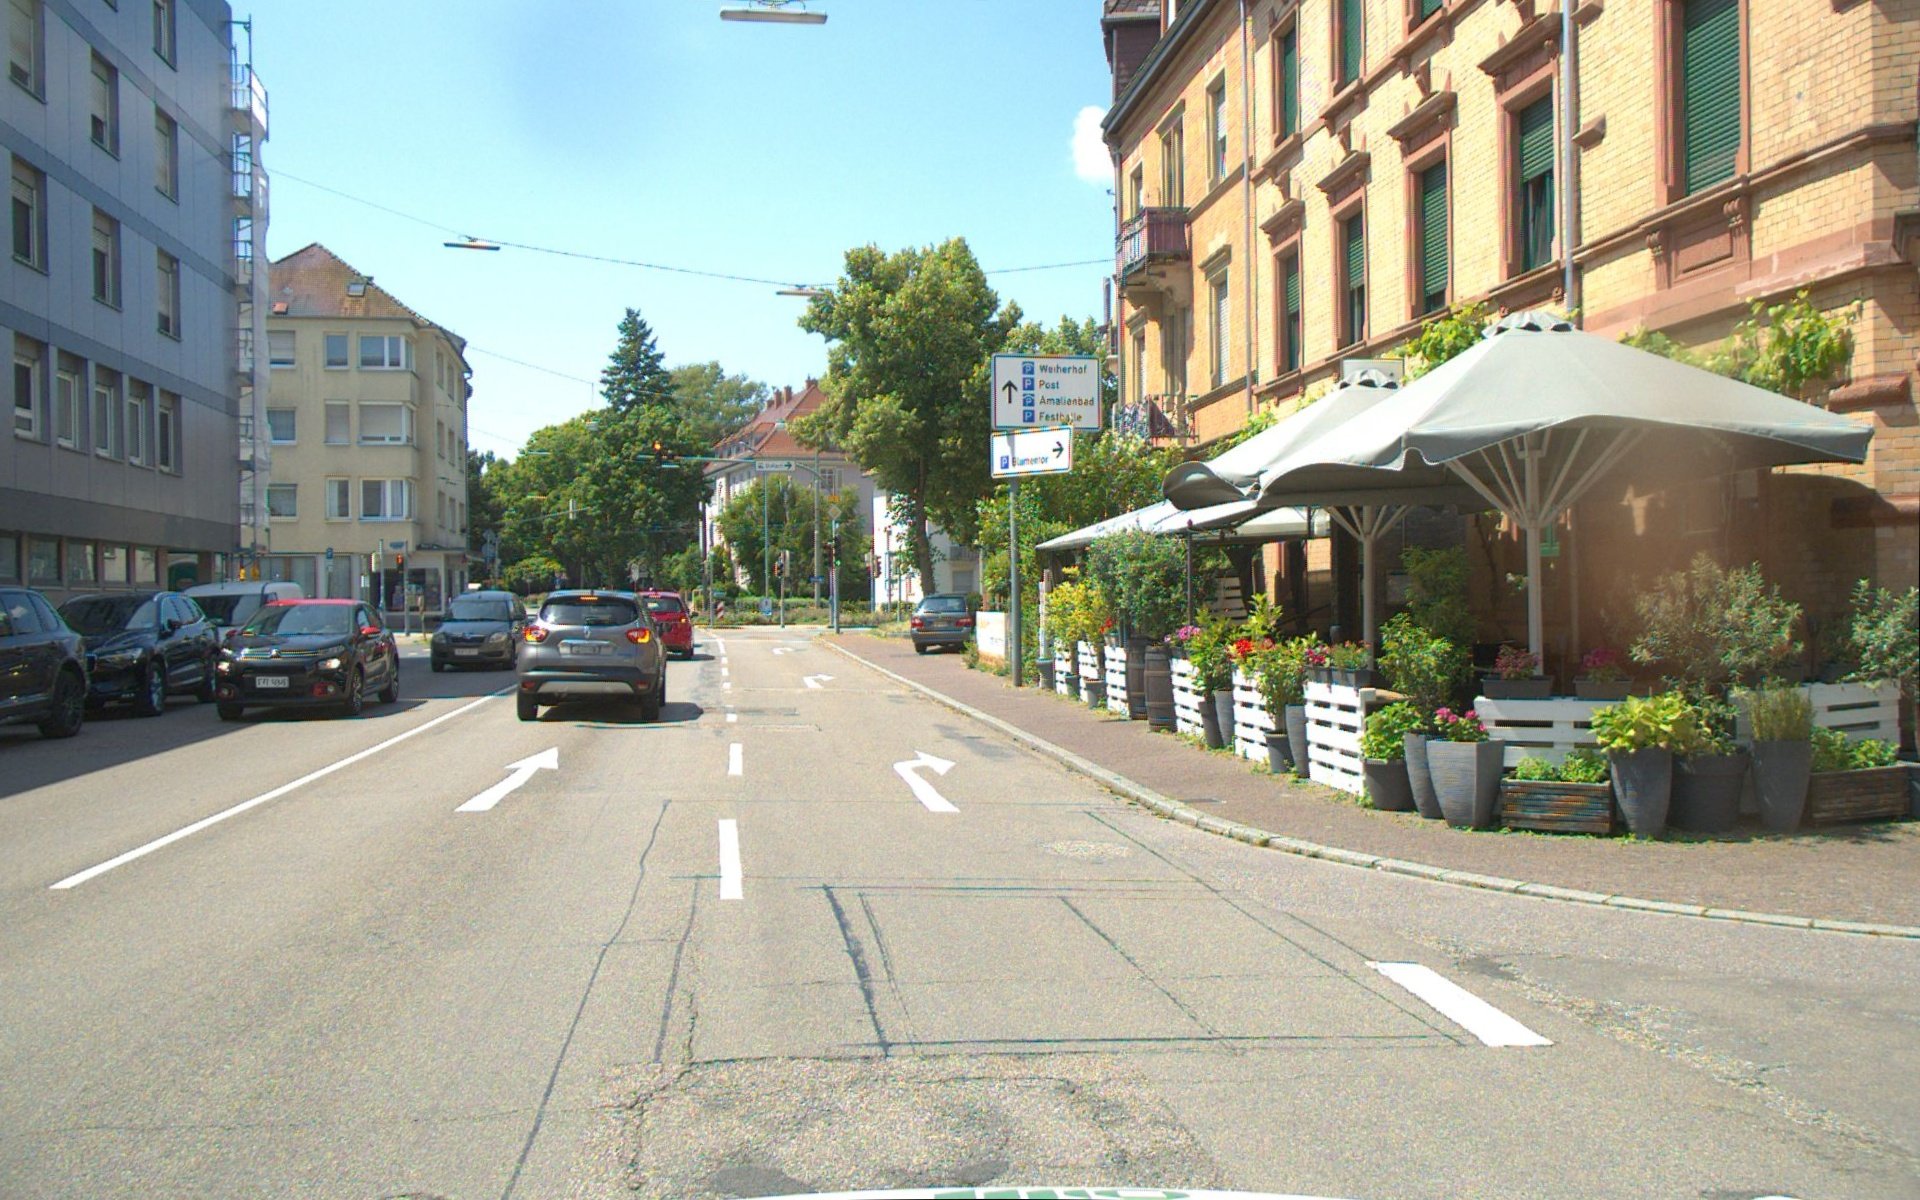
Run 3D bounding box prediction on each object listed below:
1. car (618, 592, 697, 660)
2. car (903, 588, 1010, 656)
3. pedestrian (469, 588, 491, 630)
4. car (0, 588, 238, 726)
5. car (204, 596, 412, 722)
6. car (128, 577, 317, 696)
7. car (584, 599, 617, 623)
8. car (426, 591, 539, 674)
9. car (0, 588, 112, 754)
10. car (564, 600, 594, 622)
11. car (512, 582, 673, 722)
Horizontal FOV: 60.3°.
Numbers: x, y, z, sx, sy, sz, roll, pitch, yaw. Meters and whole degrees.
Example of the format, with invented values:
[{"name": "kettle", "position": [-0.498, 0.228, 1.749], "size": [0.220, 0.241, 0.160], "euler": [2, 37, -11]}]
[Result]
[{"name": "car", "position": [-7.398, 0.625, 40.730], "size": [1.765, 1.585, 4.029], "euler": [0, 0, -8]}, {"name": "car", "position": [-0.015, 0.532, 43.626], "size": [1.795, 1.575, 5.161], "euler": [-1, 1, 11]}, {"name": "pedestrian", "position": [-22.507, 0.415, 77.550], "size": [0.921, 1.965, 0.971], "euler": [0, -1, -21]}, {"name": "car", "position": [-11.735, 0.737, 23.206], "size": [1.851, 1.670, 4.651], "euler": [-2, 0, -10]}, {"name": "car", "position": [-8.676, 0.729, 22.370], "size": [1.670, 1.504, 4.125], "euler": [-1, 0, -8]}, {"name": "car", "position": [-12.907, 0.611, 29.273], "size": [1.879, 1.857, 4.777], "euler": [-2, 0, -10]}, {"name": "car", "position": [-28.500, 0.843, 131.149], "size": [1.965, 1.839, 3.975], "euler": [0, 0, -21]}, {"name": "car", "position": [-9.967, 0.641, 34.805], "size": [1.670, 1.602, 4.304], "euler": [-1, 0, -8]}, {"name": "car", "position": [-10.700, 0.754, 17.151], "size": [1.849, 1.670, 4.809], "euler": [-2, 0, -8]}, {"name": "car", "position": [-33.123, 0.942, 143.726], "size": [1.965, 1.940, 3.975], "euler": [0, 0, -21]}, {"name": "car", "position": [-4.738, 0.627, 21.770], "size": [1.721, 1.660, 3.993], "euler": [0, 0, -8]}]
